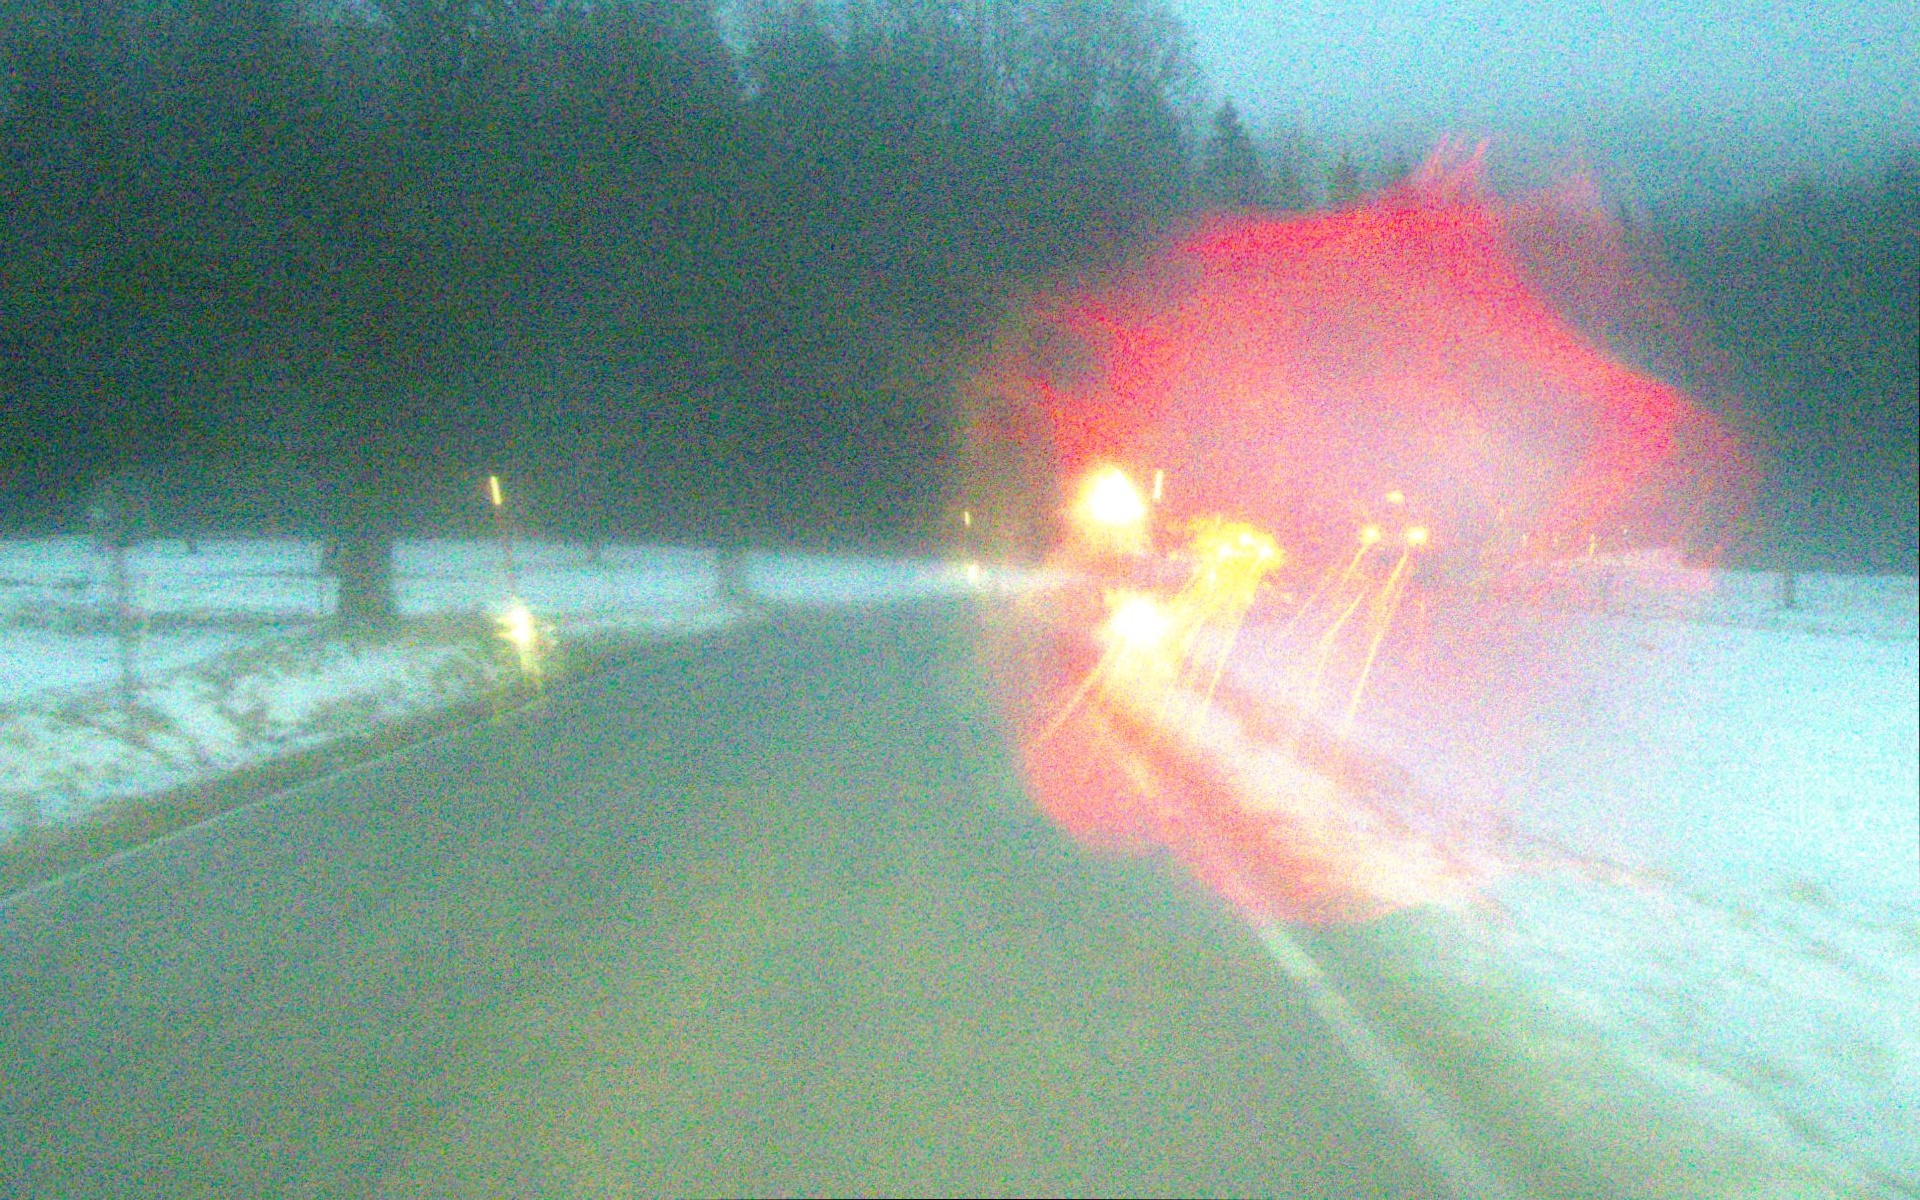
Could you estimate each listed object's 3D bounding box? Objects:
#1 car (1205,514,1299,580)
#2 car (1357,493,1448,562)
[{"bbox_3d":[9.362,-1.706,109.960,1.995,2.044,3.996,1,2,20],"label":"car"},{"bbox_3d":[17.215,-2.823,133.653,2.255,2.636,5.000,1,2,23],"label":"car"}]
